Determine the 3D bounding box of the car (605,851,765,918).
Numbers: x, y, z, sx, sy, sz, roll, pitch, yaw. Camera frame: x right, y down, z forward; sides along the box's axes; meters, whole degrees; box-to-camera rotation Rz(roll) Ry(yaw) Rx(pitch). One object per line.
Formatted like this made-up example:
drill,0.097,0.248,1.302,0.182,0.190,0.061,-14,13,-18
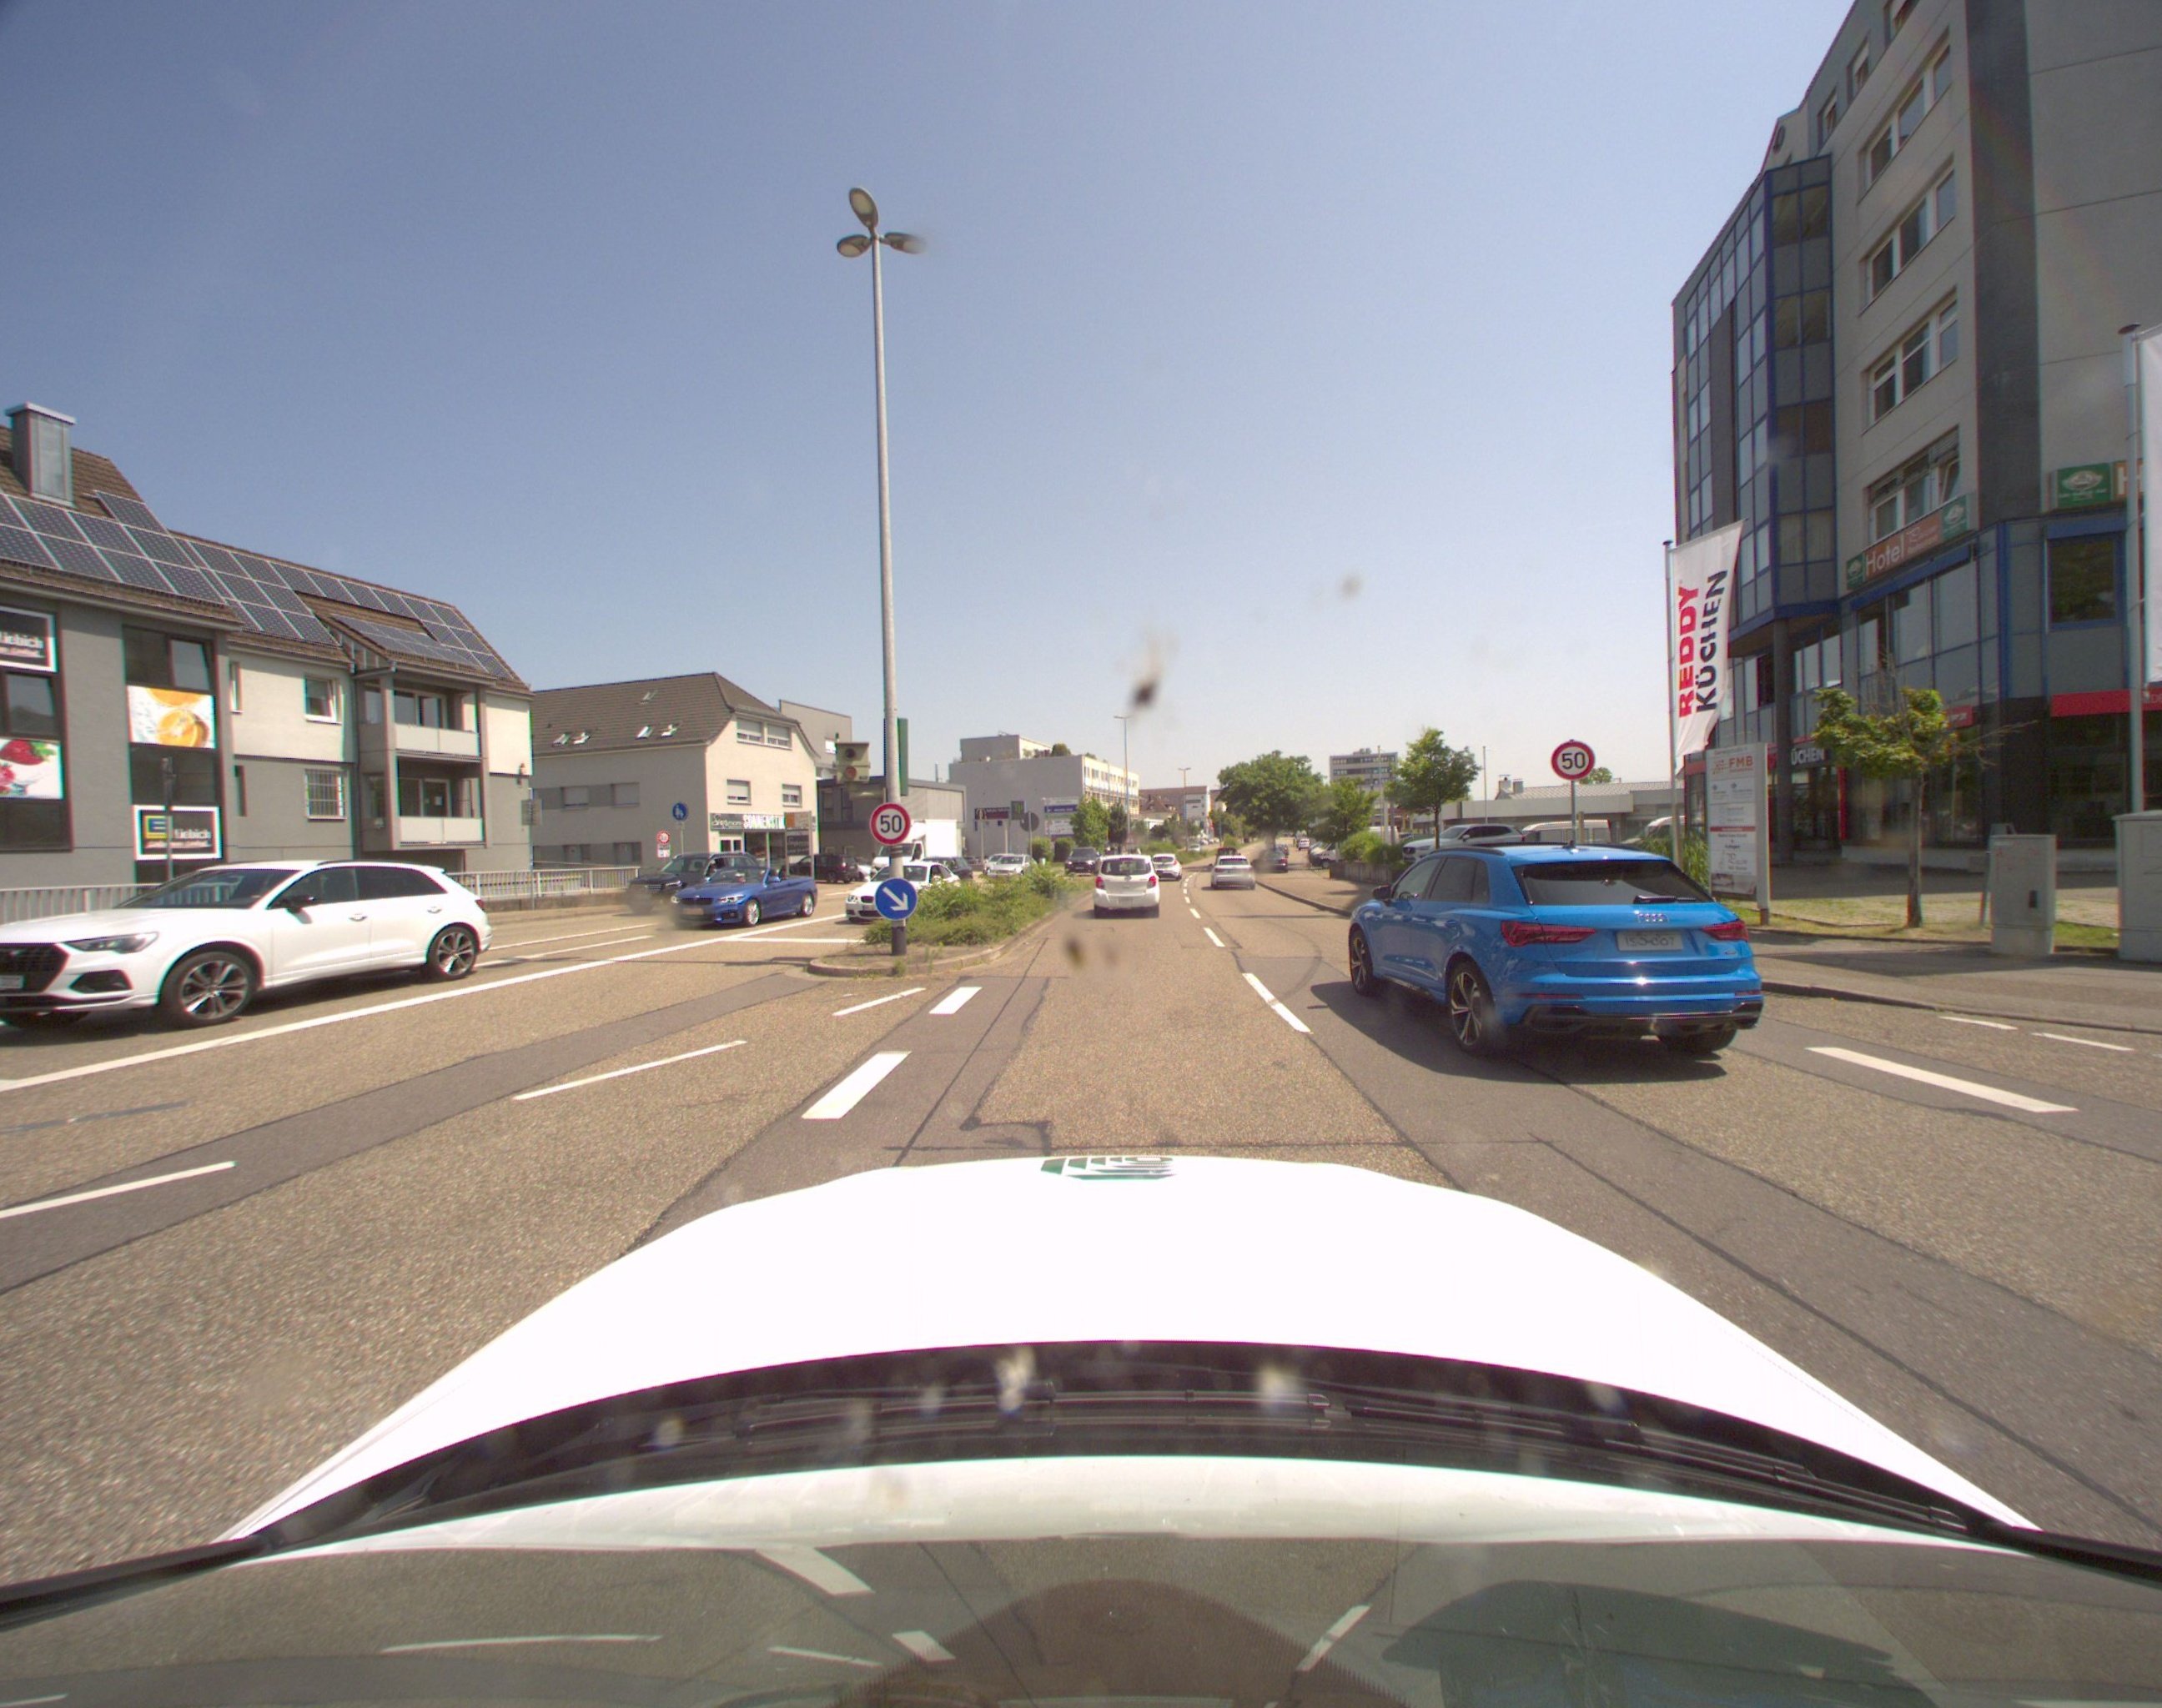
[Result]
car,-11.256,0.787,23.611,1.984,1.656,4.601,-2,0,5

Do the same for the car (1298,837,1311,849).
car,32.584,-1.571,118.783,1.654,1.596,4.632,-3,1,15

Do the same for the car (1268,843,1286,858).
car,21.619,-0.407,90.037,1.842,1.481,5.174,-2,1,12

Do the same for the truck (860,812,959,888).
truck,-8.298,-0.162,40.436,2.250,3.417,7.059,-1,-1,11

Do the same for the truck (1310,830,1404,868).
truck,19.758,-0.337,58.641,6.197,2.336,2.379,-3,1,16

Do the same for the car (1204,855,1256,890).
car,6.309,0.743,34.769,1.660,1.399,3.796,-1,0,3

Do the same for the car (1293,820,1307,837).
car,40.160,-4.592,149.738,2.118,2.839,7.338,-5,0,14

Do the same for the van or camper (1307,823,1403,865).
van or camper,21.088,-0.745,63.008,6.747,2.897,2.285,-2,1,14

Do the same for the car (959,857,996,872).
car,-12.620,1.268,99.341,3.947,1.467,2.080,-4,0,13

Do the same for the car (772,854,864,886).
car,-14.883,0.872,46.138,4.572,1.627,1.861,2,1,14

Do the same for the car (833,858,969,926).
car,-4.285,0.855,20.219,1.853,1.431,4.752,-1,0,6

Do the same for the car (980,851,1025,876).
car,-5.099,0.593,53.474,1.886,1.566,4.208,-1,0,9

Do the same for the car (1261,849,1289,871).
car,13.271,0.404,55.702,1.785,1.406,4.336,0,0,14

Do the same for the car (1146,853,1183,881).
car,4.534,0.671,44.668,1.822,1.450,4.004,-1,0,4

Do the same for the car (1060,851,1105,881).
car,0.143,0.704,50.055,1.897,1.751,4.773,-1,-1,10

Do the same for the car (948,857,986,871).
car,-13.404,1.137,96.058,3.947,1.467,1.970,-2,1,10

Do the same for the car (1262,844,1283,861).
car,20.100,-0.211,85.355,1.946,1.530,5.183,-4,0,15

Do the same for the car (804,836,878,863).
car,-15.385,-0.291,52.232,4.029,1.521,2.007,-2,0,12

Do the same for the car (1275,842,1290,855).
car,24.985,-0.672,101.259,1.701,1.548,4.808,-3,0,13

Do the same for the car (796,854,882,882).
car,-14.563,0.812,49.156,4.581,1.496,1.756,2,1,7

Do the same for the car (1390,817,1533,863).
car,14.656,-0.522,31.490,4.725,1.713,1.993,0,-1,-10

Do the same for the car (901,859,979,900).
car,-5.461,0.961,32.200,1.792,1.439,4.584,-1,0,6

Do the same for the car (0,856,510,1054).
car,-9.012,0.850,9.058,1.808,1.570,4.562,-1,1,5

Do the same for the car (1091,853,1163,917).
car,1.138,0.745,20.941,1.706,1.511,3.248,-1,-1,1

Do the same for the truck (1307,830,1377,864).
truck,21.101,-0.565,65.955,5.206,2.435,2.121,-3,0,16

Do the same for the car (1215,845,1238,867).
car,11.911,0.129,67.001,1.784,1.729,3.983,-1,0,9

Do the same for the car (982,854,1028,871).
car,-7.108,0.769,76.550,3.962,1.459,1.580,-2,-1,10

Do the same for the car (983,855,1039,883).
car,-3.587,0.743,42.410,1.886,1.361,4.208,-1,0,9

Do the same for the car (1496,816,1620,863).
car,27.407,-0.788,47.058,5.838,2.528,2.130,-1,-1,18

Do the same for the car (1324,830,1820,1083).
car,3.829,0.663,7.460,1.906,1.597,4.395,-1,0,0

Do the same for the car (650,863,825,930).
car,-7.829,0.909,19.088,1.853,1.366,4.355,-1,0,7

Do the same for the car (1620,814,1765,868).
car,33.538,-0.662,44.867,6.069,2.810,2.009,-1,-1,16
